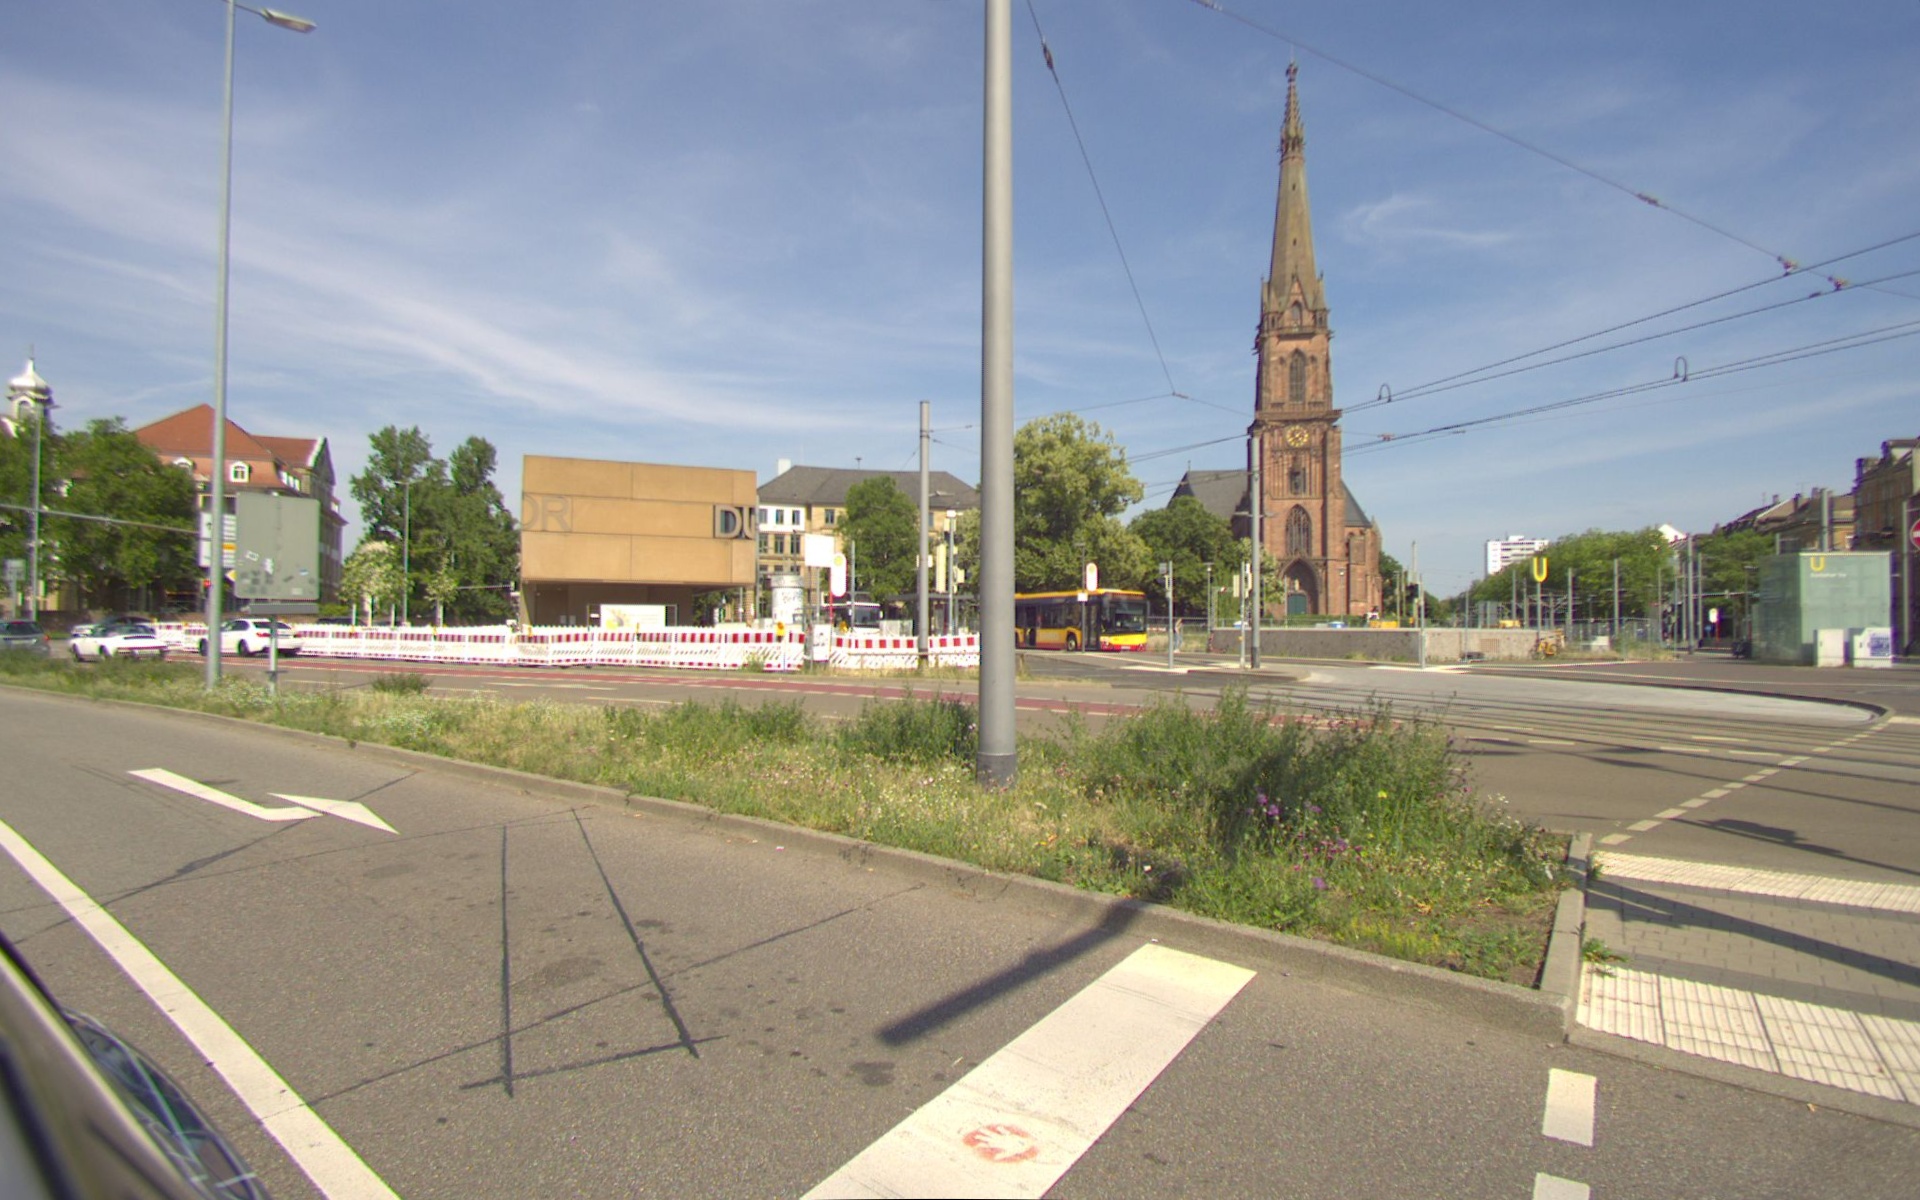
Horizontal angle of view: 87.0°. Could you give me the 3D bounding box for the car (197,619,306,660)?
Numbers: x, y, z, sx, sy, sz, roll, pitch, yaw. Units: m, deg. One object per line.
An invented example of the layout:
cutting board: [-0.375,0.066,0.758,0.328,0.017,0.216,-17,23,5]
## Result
car: [-26.559,1.450,37.927,3.982,1.431,1.786,0,0,29]

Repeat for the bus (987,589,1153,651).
bus: [5.036,0.864,50.044,2.710,2.703,11.828,-1,0,-23]

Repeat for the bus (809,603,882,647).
bus: [-9.609,2.077,83.294,2.710,3.348,11.827,1,-2,-23]

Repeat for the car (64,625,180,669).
car: [-27.475,1.494,33.161,3.982,1.296,1.584,0,0,29]

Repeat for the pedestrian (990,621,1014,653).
pedestrian: [1.877,1.650,45.036,0.911,1.377,0.532,0,0,40]

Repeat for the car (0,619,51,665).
car: [-29.690,1.259,30.979,3.982,1.296,1.584,0,0,29]

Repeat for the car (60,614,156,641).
car: [-50.005,1.586,59.499,1.743,1.454,4.094,0,0,14]
